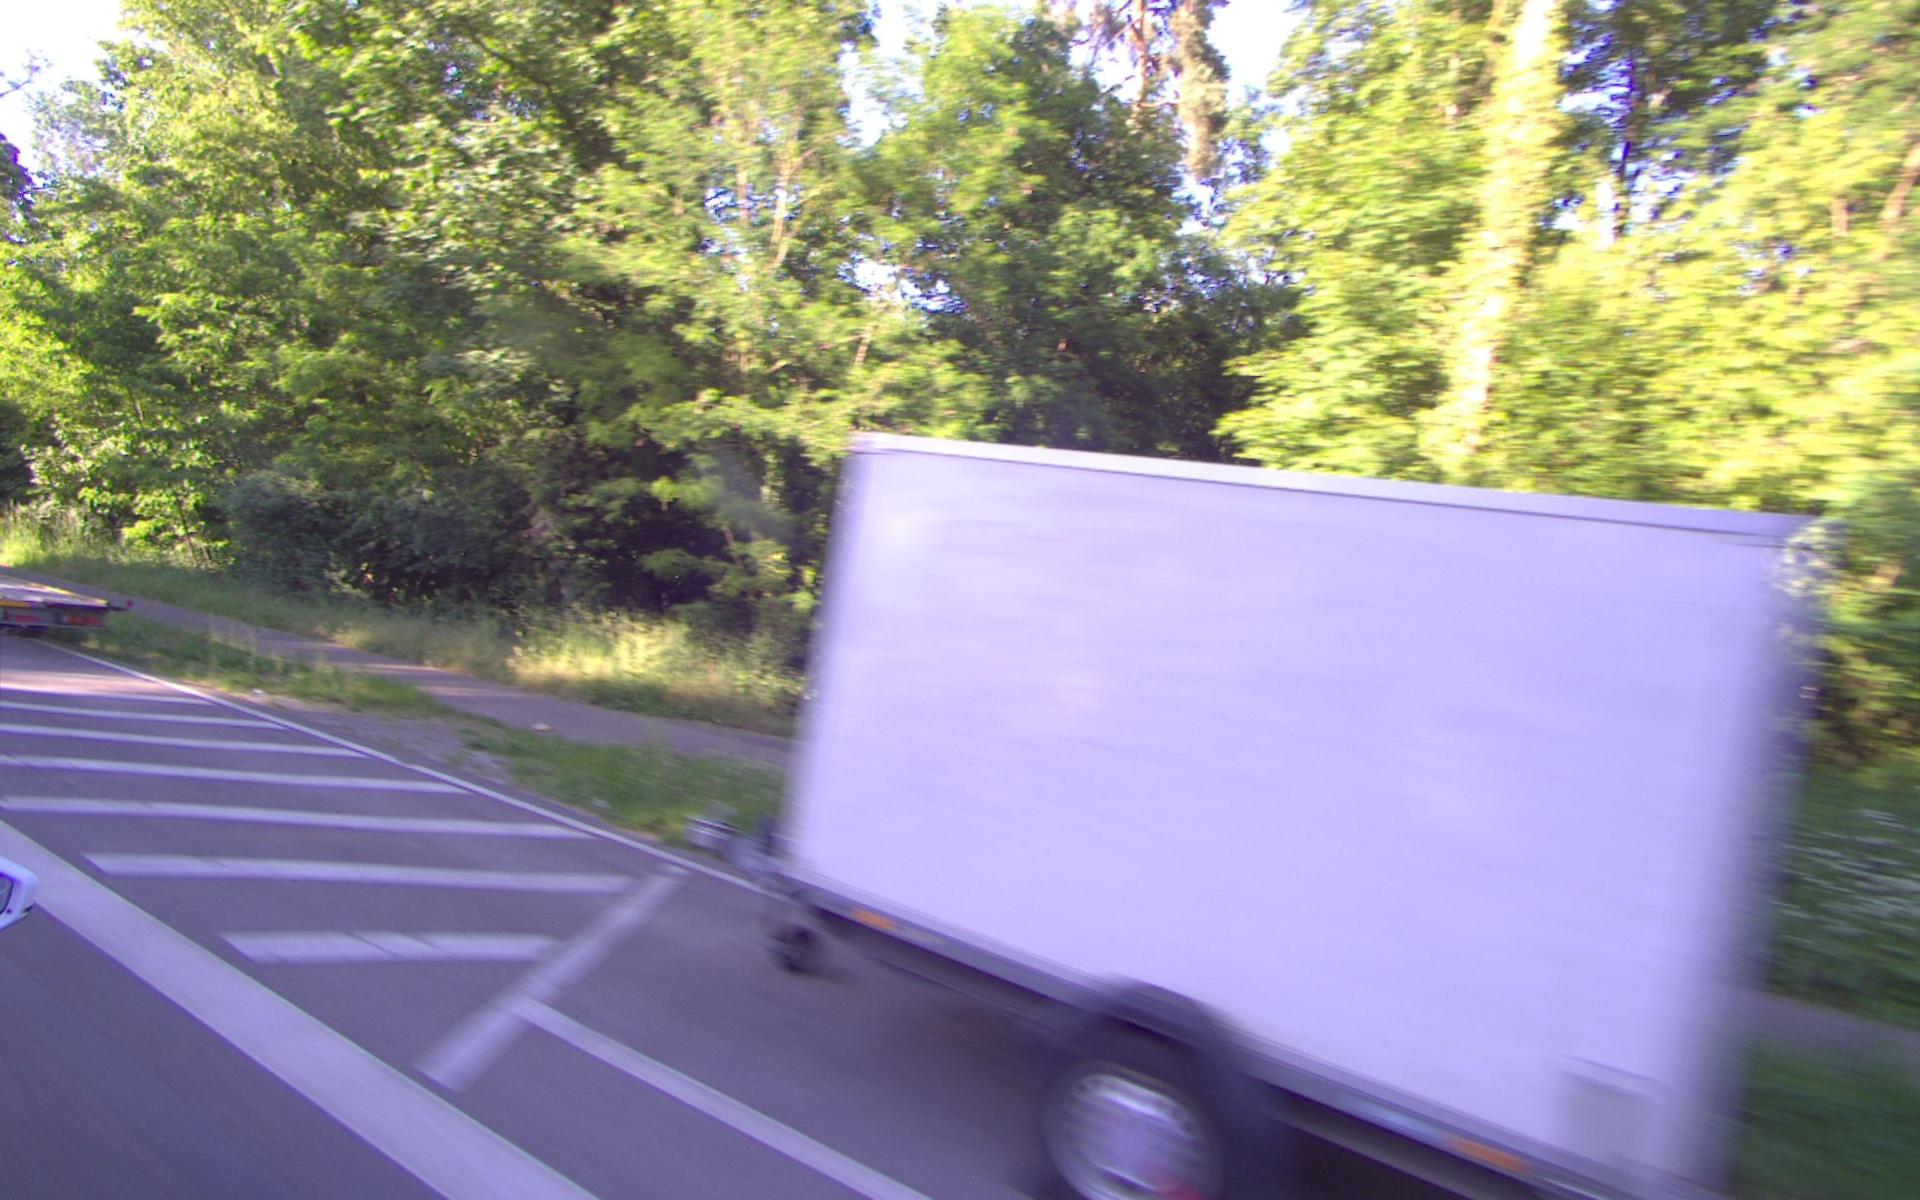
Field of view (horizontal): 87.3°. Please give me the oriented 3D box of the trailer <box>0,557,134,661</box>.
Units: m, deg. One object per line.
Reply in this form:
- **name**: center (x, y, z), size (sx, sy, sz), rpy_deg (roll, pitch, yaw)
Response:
- **trailer**: center (-11.665, -0.133, 10.948), size (5.566, 0.807, 2.437), rpy_deg (6, -2, 32)

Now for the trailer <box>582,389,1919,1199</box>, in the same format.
- **trailer**: center (0.731, 0.617, 3.367), size (3.480, 2.188, 1.757), rpy_deg (7, 0, 30)
